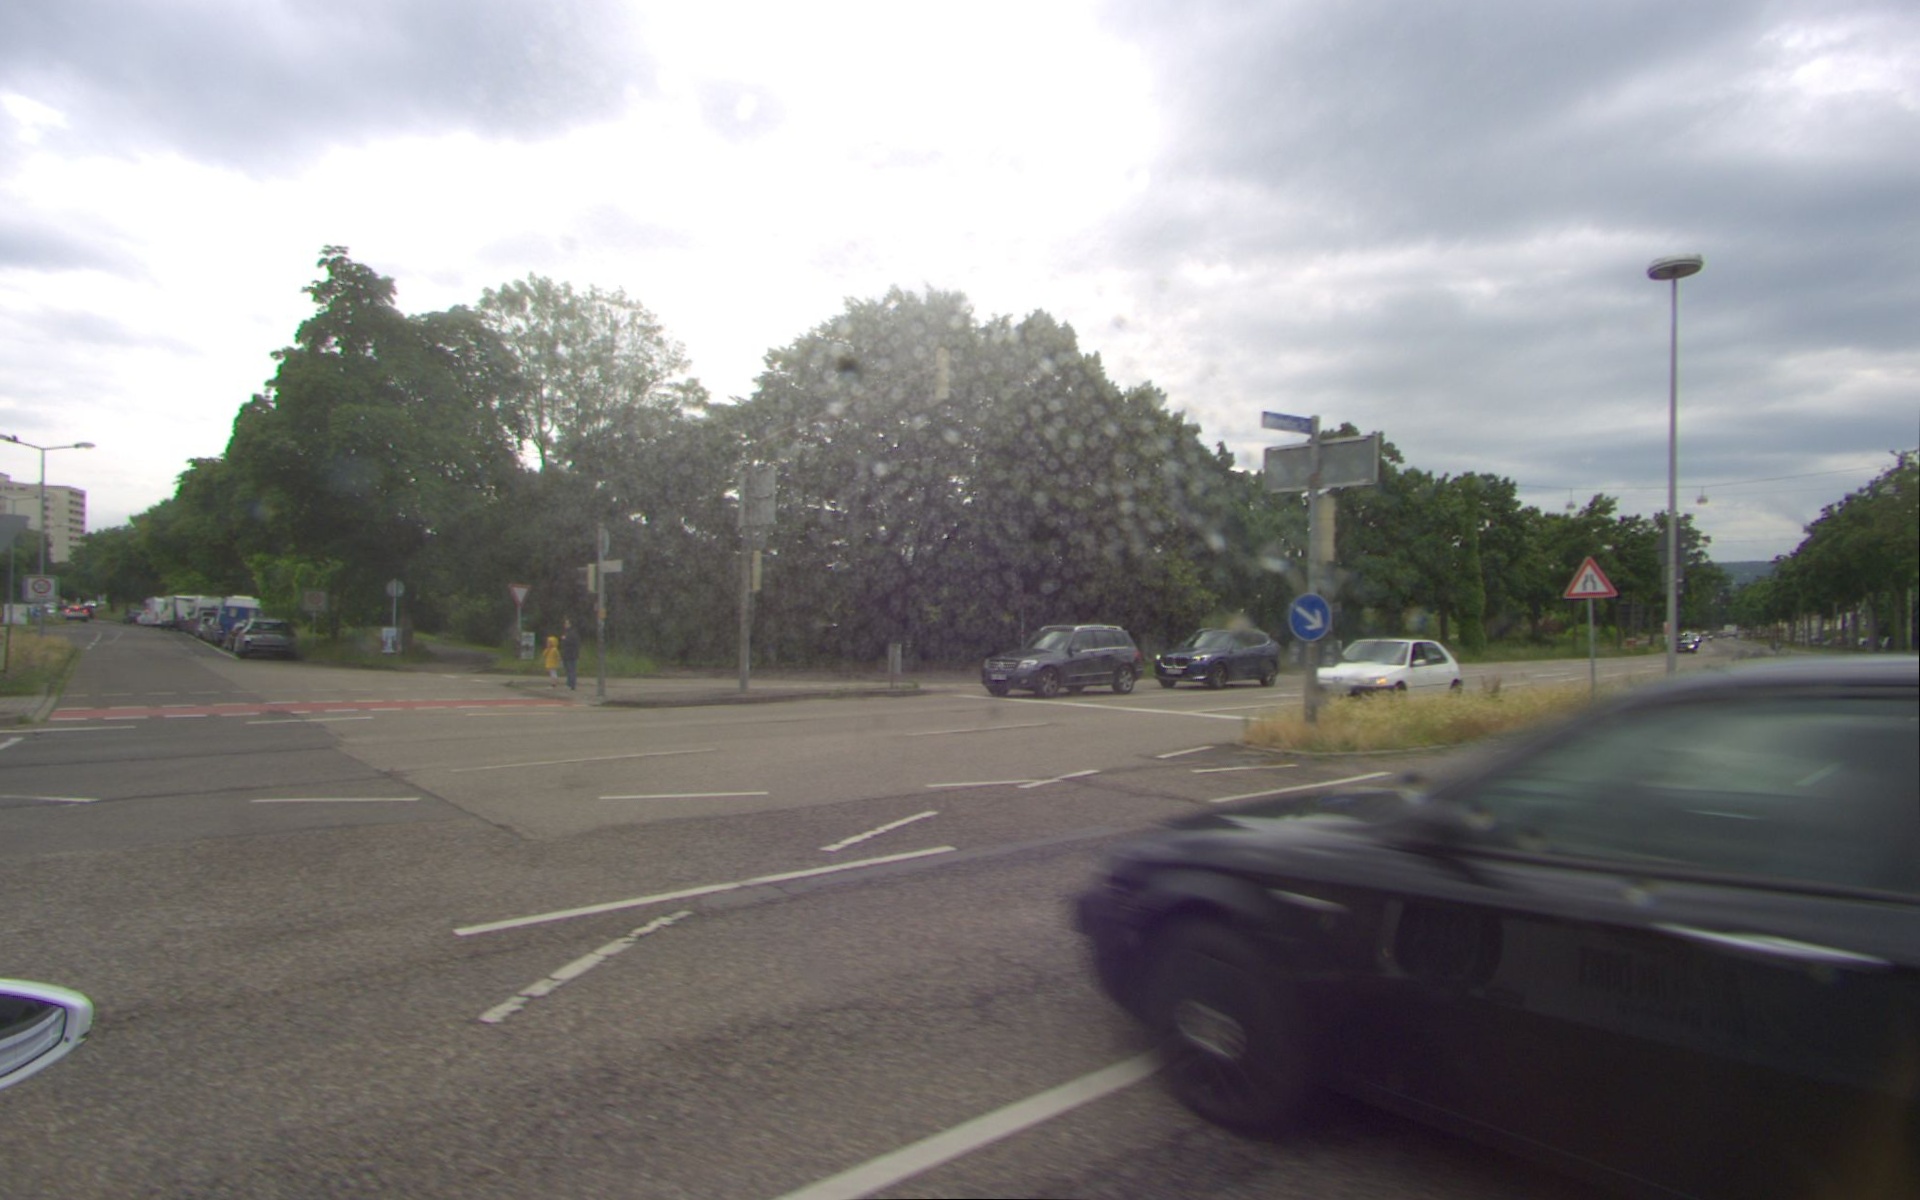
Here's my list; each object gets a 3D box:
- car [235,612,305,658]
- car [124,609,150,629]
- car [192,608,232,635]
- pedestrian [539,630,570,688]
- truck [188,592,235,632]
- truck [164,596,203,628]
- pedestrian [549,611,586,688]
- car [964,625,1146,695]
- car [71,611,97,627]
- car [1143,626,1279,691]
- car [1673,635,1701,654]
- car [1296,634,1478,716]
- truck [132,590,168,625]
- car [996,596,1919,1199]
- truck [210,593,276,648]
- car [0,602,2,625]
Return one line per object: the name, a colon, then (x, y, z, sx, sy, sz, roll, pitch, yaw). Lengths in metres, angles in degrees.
car: (-27.415, 1.368, 39.760, 1.772, 1.683, 3.963, 2, -1, -42)
car: (-84.035, 1.918, 102.261, 3.877, 1.943, 1.642, 1, 0, 44)
car: (-50.586, 1.444, 67.691, 1.709, 1.782, 3.961, 2, -1, -44)
pedestrian: (-9.641, 1.390, 23.828, 0.523, 1.359, 0.520, 1, 0, -42)
truck: (-56.309, 0.898, 75.288, 5.671, 2.875, 1.982, 0, -1, 44)
truck: (-64.883, 1.049, 83.657, 1.981, 2.606, 5.326, 1, -2, -44)
pedestrian: (-9.173, 1.150, 23.404, 0.652, 1.772, 0.454, 1, 0, -43)
car: (2.353, 1.386, 23.933, 4.433, 1.523, 1.830, 2, -3, -42)
car: (-91.683, 1.980, 104.808, 2.006, 1.525, 3.963, 2, -1, -42)
car: (7.042, 1.583, 27.938, 3.961, 1.639, 1.860, 2, -1, -44)
car: (64.274, 3.911, 88.556, 1.642, 1.550, 3.859, 0, -1, 41)
car: (8.301, 1.377, 19.322, 4.107, 1.375, 1.632, 2, -1, -42)
truck: (-73.233, 0.672, 90.506, 1.982, 3.047, 5.713, 1, -2, -45)
car: (2.240, 0.755, 2.484, 1.783, 1.476, 4.503, 2, -1, -39)
truck: (-37.834, 1.076, 52.783, 2.159, 2.691, 6.189, 1, -1, -42)
car: (-87.674, 1.177, 90.077, 1.979, 2.040, 3.965, 2, -1, -41)
